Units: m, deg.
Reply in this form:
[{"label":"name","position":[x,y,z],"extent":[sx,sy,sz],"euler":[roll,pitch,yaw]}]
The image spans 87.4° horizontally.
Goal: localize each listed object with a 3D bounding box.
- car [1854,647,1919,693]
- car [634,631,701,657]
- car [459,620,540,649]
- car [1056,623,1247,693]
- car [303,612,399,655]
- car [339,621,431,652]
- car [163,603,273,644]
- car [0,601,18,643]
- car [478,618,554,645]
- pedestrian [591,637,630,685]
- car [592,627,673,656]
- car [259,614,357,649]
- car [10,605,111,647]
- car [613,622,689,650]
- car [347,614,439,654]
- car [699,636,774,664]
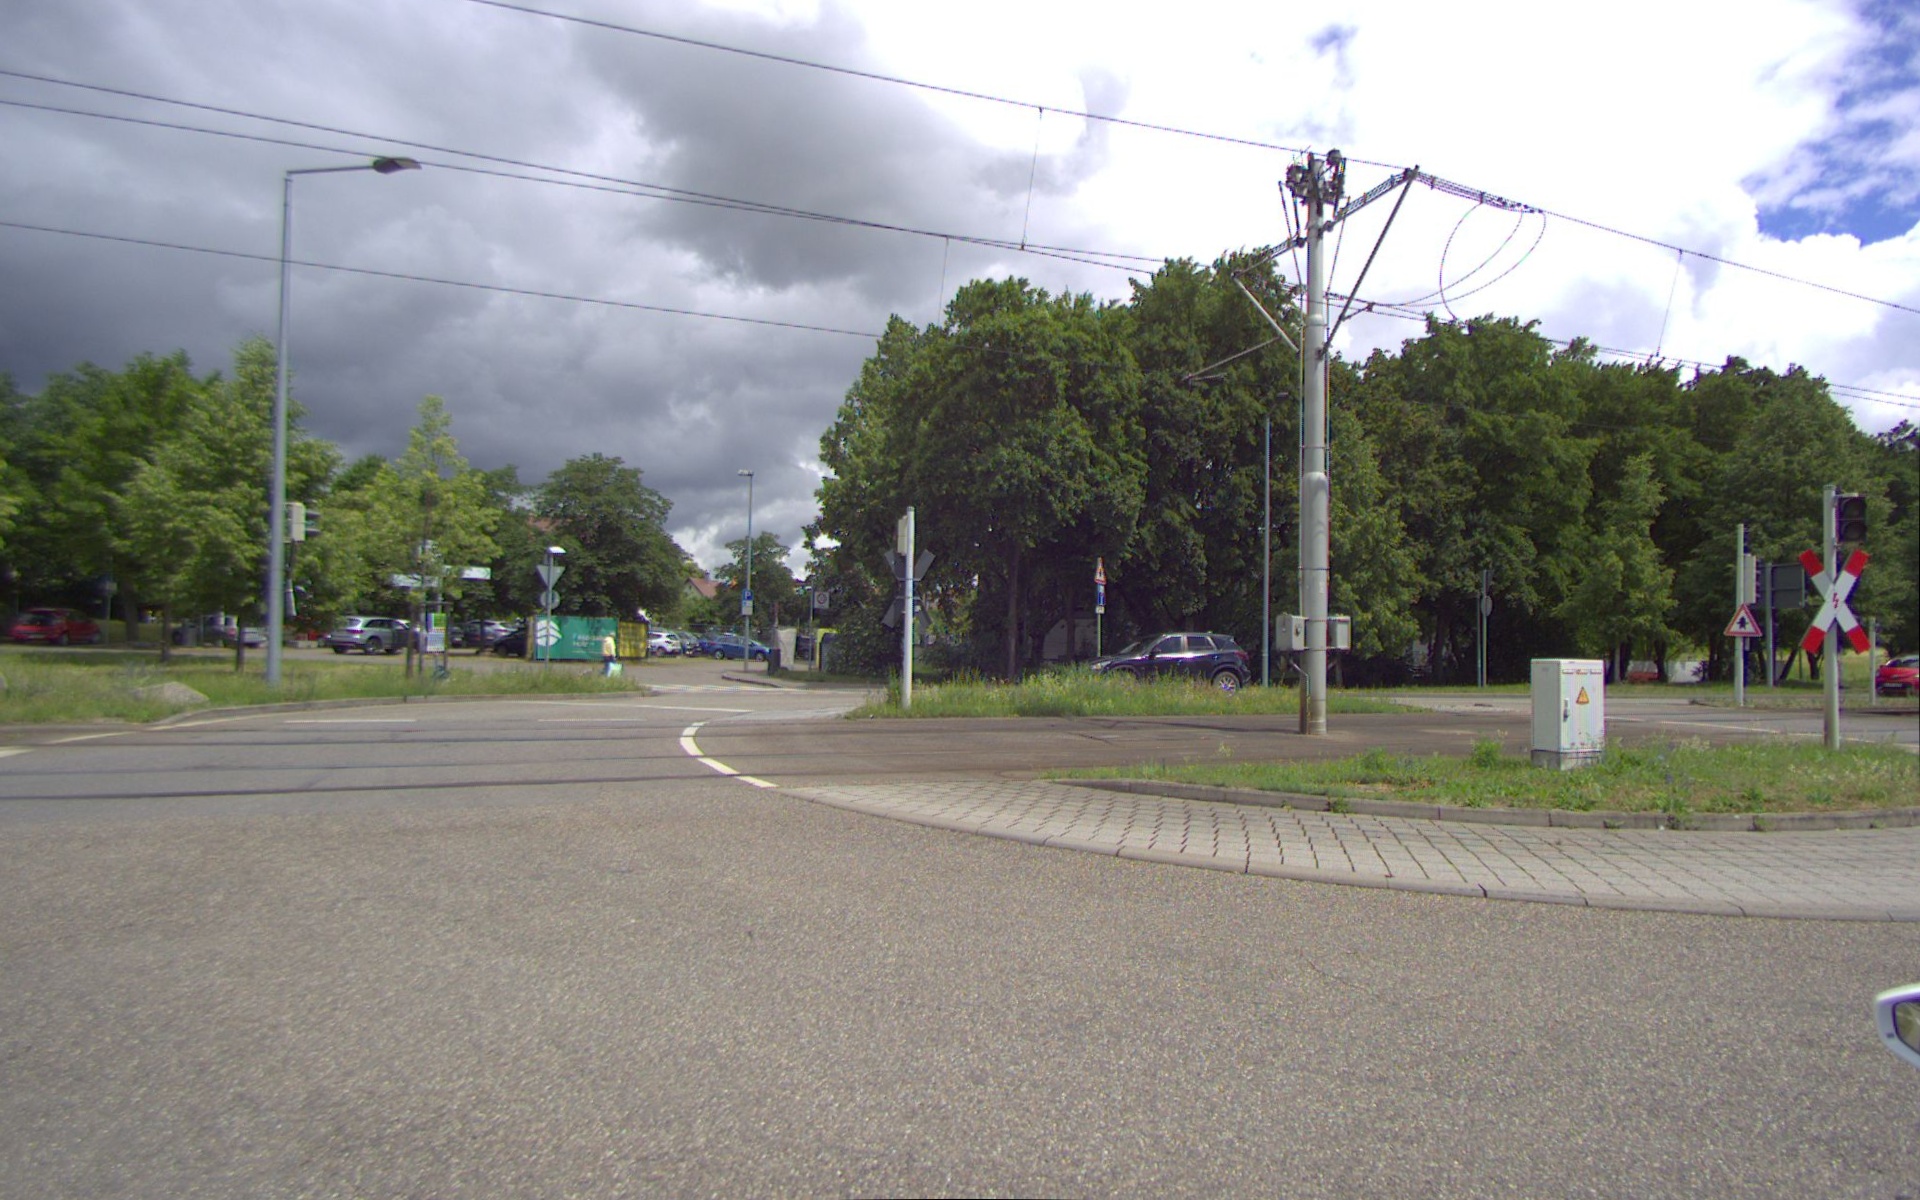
[{"label":"car","position":[32.792,2.429,34.508],"extent":[3.607,1.470,1.611],"euler":[3,-1,-21]},{"label":"car","position":[-17.748,2.666,60.981],"extent":[3.518,1.439,1.486],"euler":[2,-1,8]},{"label":"car","position":[-27.349,2.081,59.829],"extent":[1.963,1.617,3.995],"euler":[0,-2,28]},{"label":"car","position":[4.670,1.438,24.720],"extent":[4.249,1.606,1.856],"euler":[1,-3,-12]},{"label":"car","position":[-26.738,1.476,44.117],"extent":[3.518,1.610,1.998],"euler":[3,-2,27]},{"label":"car","position":[-31.375,2.005,54.872],"extent":[3.919,1.612,2.002],"euler":[0,-2,7]},{"label":"car","position":[-32.649,1.057,44.214],"extent":[3.921,1.706,2.000],"euler":[0,-2,19]},{"label":"car","position":[-38.971,0.876,39.990],"extent":[1.613,1.610,3.584],"euler":[3,-4,-36]},{"label":"car","position":[-27.792,1.996,63.042],"extent":[1.963,1.617,3.995],"euler":[0,-2,28]},{"label":"pedestrian","position":[-11.089,1.924,31.871],"extent":[0.882,1.477,0.748],"euler":[2,-1,37]},{"label":"car","position":[-18.429,2.334,56.548],"extent":[3.919,1.439,1.759],"euler":[2,-1,11]},{"label":"car","position":[-32.455,1.583,50.043],"extent":[3.513,1.610,2.001],"euler":[1,-3,1]},{"label":"car","position":[-36.759,1.101,41.158],"extent":[1.603,1.610,3.607],"euler":[2,-3,-17]},{"label":"car","position":[-18.248,2.127,59.376],"extent":[3.919,1.439,1.759],"euler":[2,-1,11]},{"label":"car","position":[-26.296,1.594,46.595],"extent":[3.518,1.610,1.998],"euler":[3,-2,27]},{"label":"car","position":[-13.134,2.911,59.012],"extent":[3.919,1.439,1.608],"euler":[2,-1,9]}]
